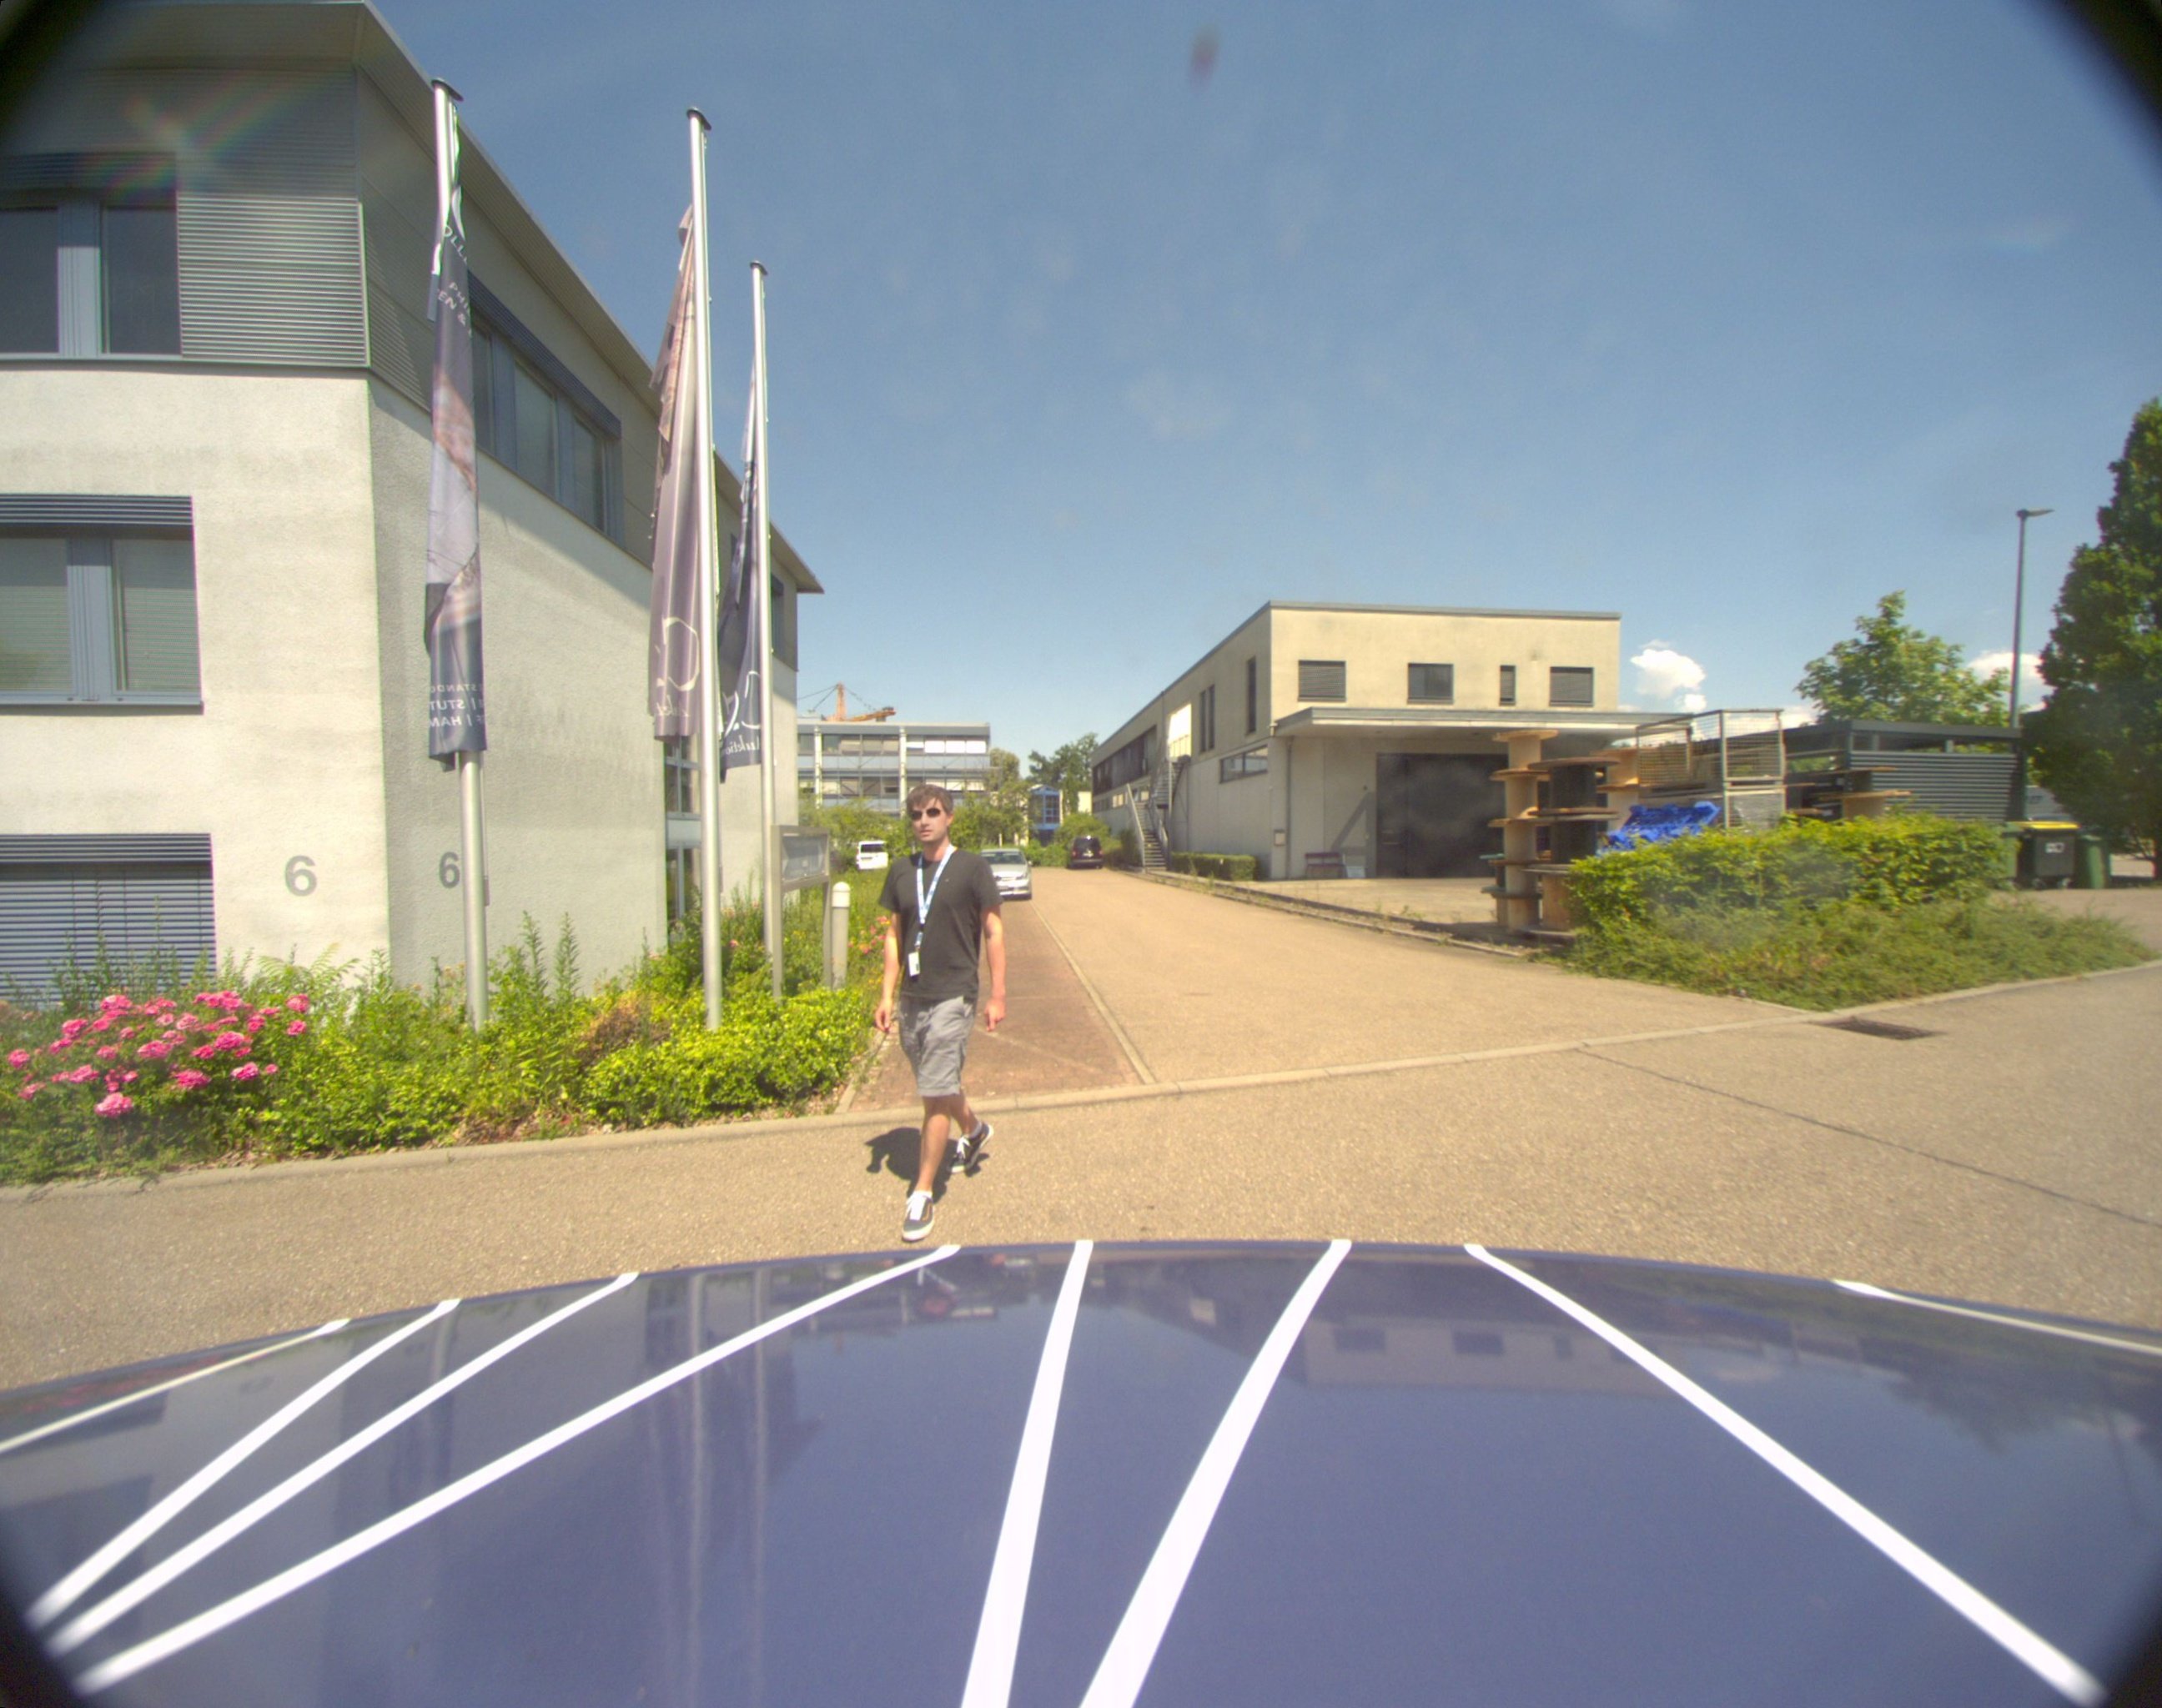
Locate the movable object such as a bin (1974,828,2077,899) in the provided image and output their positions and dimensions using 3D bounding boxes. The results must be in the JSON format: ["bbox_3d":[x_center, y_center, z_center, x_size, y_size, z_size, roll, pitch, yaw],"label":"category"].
[{"bbox_3d":[18.405,0.174,14.828,1.072,1.329,0.759,-2,2,-2],"label":"movable object such as a bin"}]

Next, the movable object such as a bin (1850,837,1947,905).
[{"bbox_3d":[15.838,0.310,14.739,1.072,1.264,0.759,-2,2,-2],"label":"movable object such as a bin"}]

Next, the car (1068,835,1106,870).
[{"bbox_3d":[0.296,-0.141,43.046,1.788,1.794,3.997,-2,2,-5],"label":"car"}]

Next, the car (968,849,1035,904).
[{"bbox_3d":[-2.226,0.589,22.111,1.711,1.383,3.809,-1,1,-3],"label":"car"}]

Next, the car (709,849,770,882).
[{"bbox_3d":[-18.225,0.557,40.771,1.788,1.537,3.996,-2,2,-6],"label":"car"}]

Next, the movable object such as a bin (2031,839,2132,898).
[{"bbox_3d":[19.516,0.269,14.838,0.987,1.078,0.760,-2,2,-2],"label":"movable object such as a bin"}]

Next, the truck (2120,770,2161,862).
[{"bbox_3d":[34.386,-1.199,22.105,5.696,2.657,2.417,-2,1,-6],"label":"truck"}]

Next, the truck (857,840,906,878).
[{"bbox_3d":[-10.680,0.195,40.894,2.000,1.883,3.996,-2,2,-8],"label":"truck"}]

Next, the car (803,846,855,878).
[{"bbox_3d":[-13.556,0.402,41.059,1.788,1.537,3.996,-2,2,-6],"label":"car"}]

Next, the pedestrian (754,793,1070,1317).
[{"bbox_3d":[-0.651,0.692,3.182,0.858,1.810,0.906,-1,2,23],"label":"pedestrian"}]

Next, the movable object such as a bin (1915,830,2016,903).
[{"bbox_3d":[17.061,0.226,14.672,1.072,1.329,0.759,-2,2,-2],"label":"movable object such as a bin"}]
